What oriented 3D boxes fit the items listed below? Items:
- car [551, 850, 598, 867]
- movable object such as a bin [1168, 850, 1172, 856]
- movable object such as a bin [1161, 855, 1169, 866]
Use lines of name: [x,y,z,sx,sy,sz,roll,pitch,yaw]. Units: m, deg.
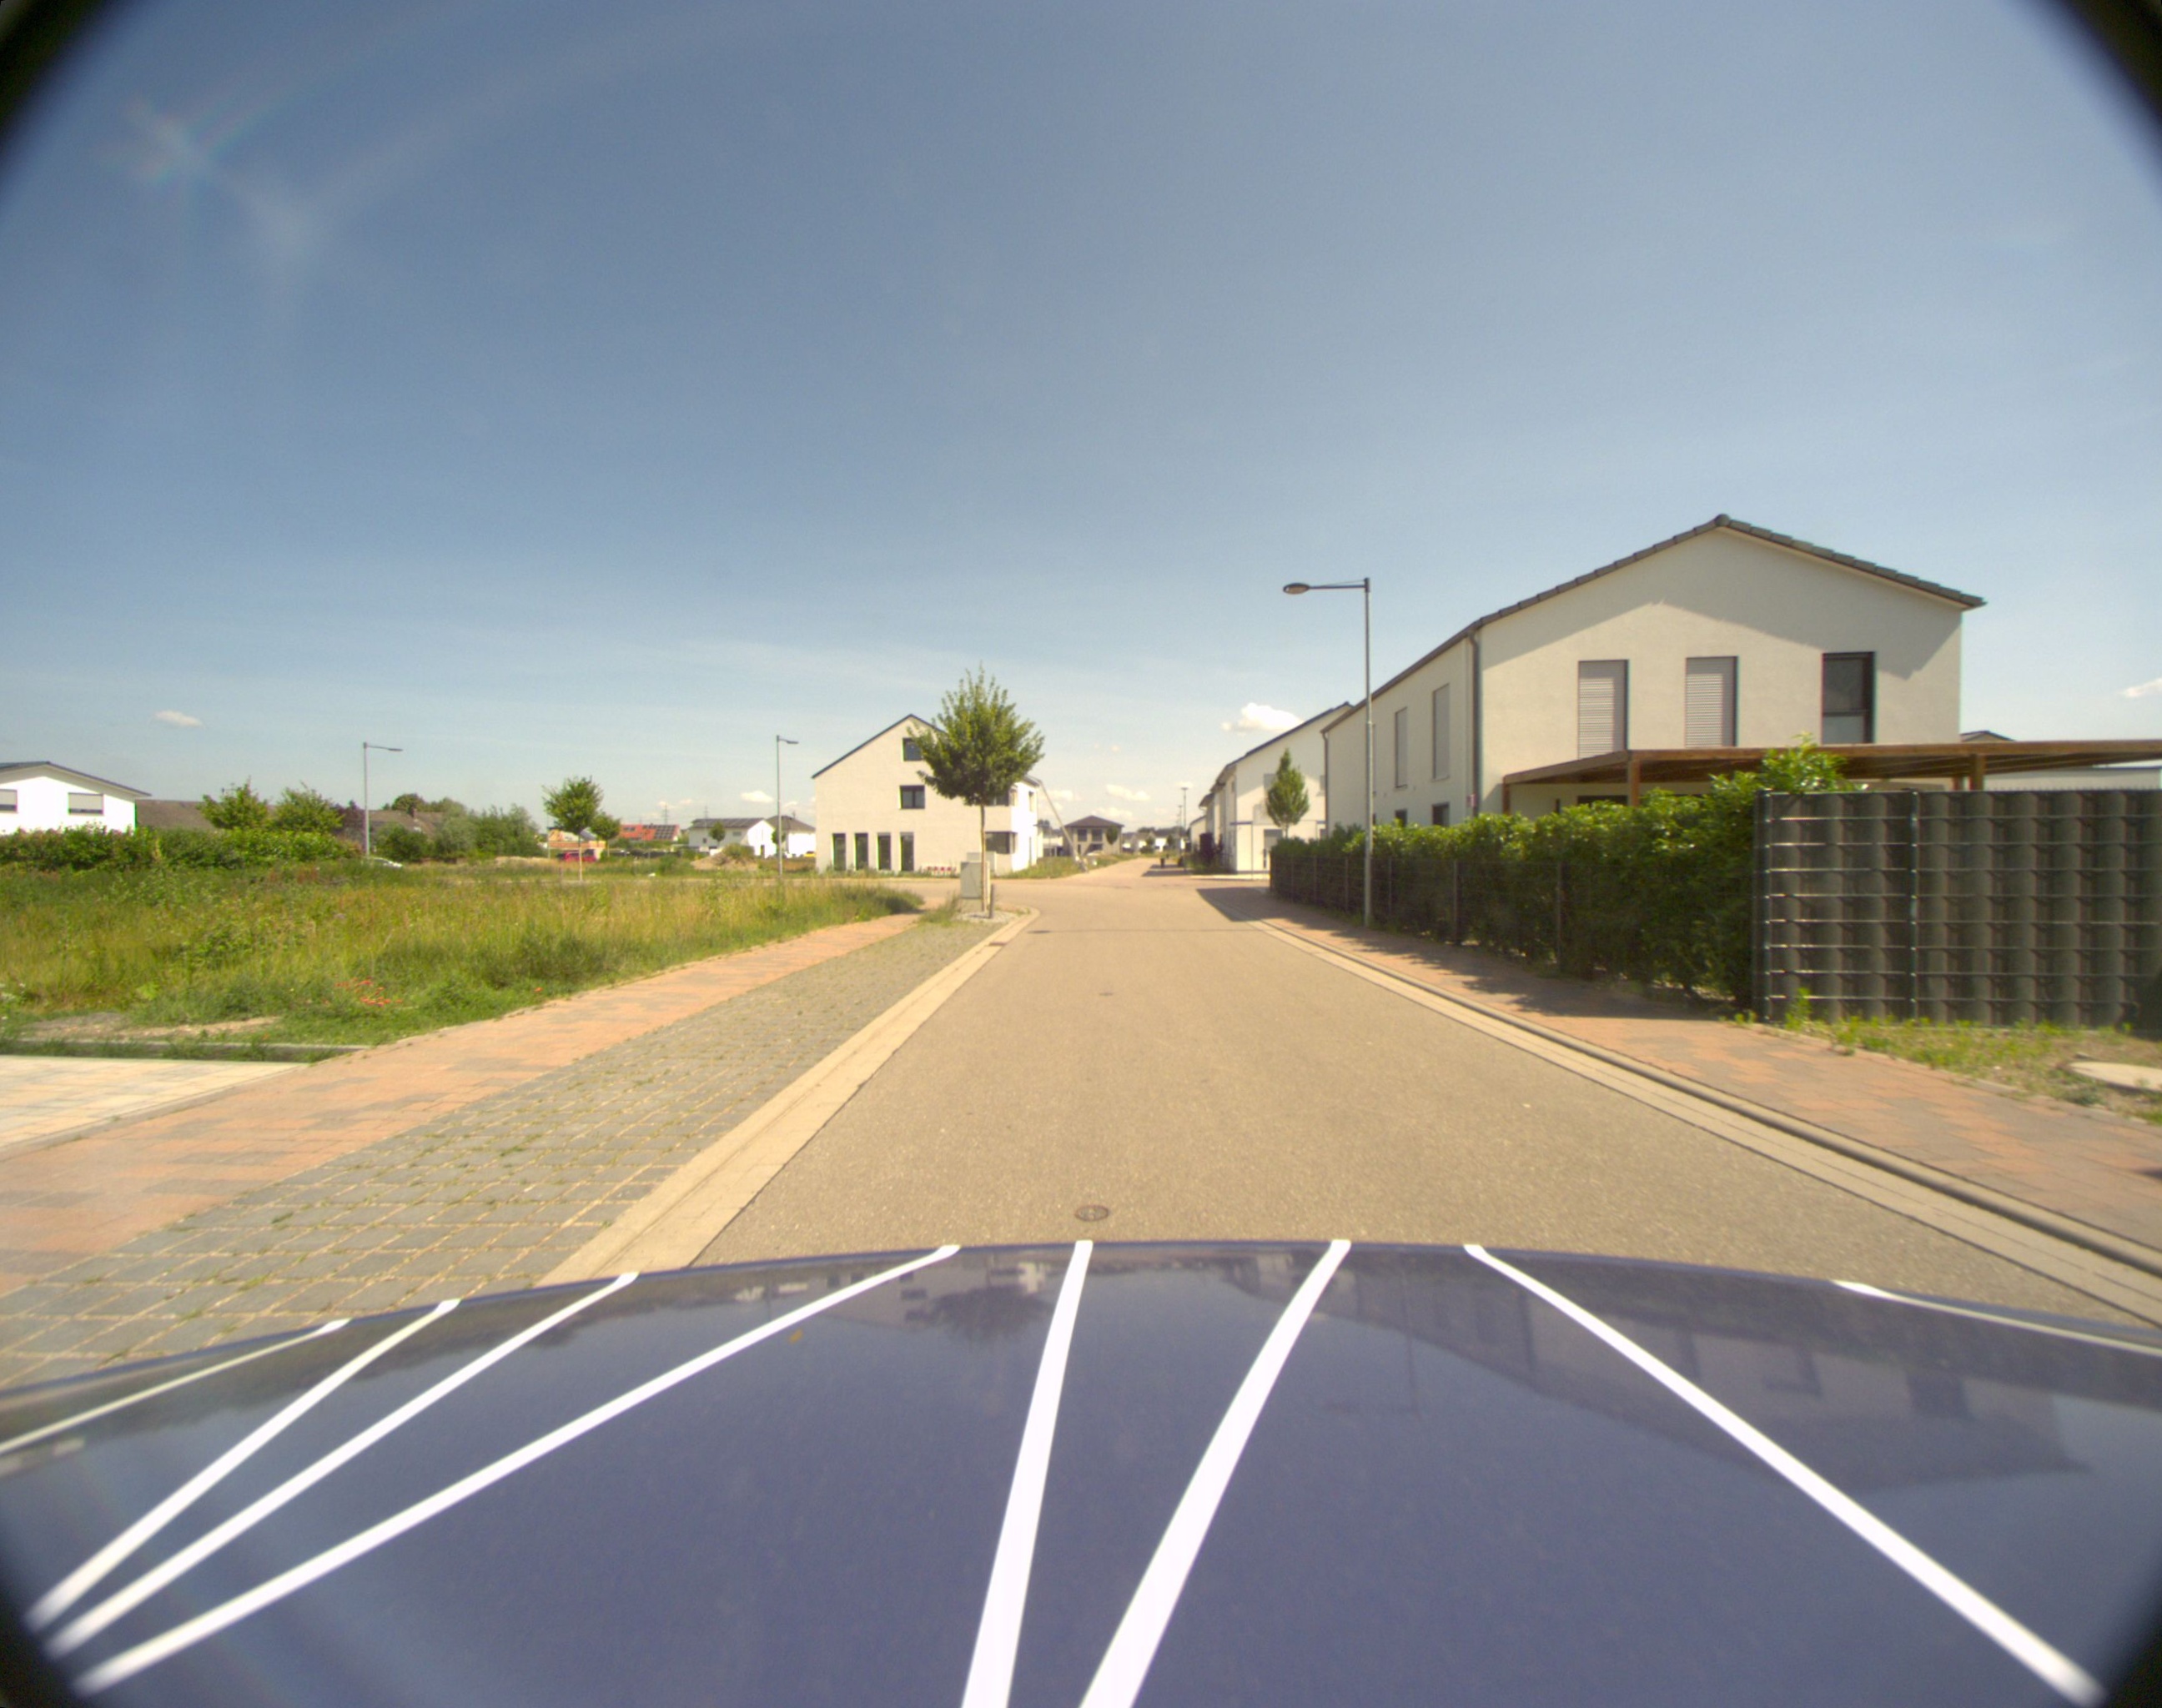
car: [-51.361,0.453,77.135,1.807,1.607,4.002,0,1,7]
movable object such as a bin: [15.796,-0.176,134.691,0.597,0.916,0.462,0,1,8]
movable object such as a bin: [7.069,0.553,63.875,0.597,0.916,0.462,0,1,8]
